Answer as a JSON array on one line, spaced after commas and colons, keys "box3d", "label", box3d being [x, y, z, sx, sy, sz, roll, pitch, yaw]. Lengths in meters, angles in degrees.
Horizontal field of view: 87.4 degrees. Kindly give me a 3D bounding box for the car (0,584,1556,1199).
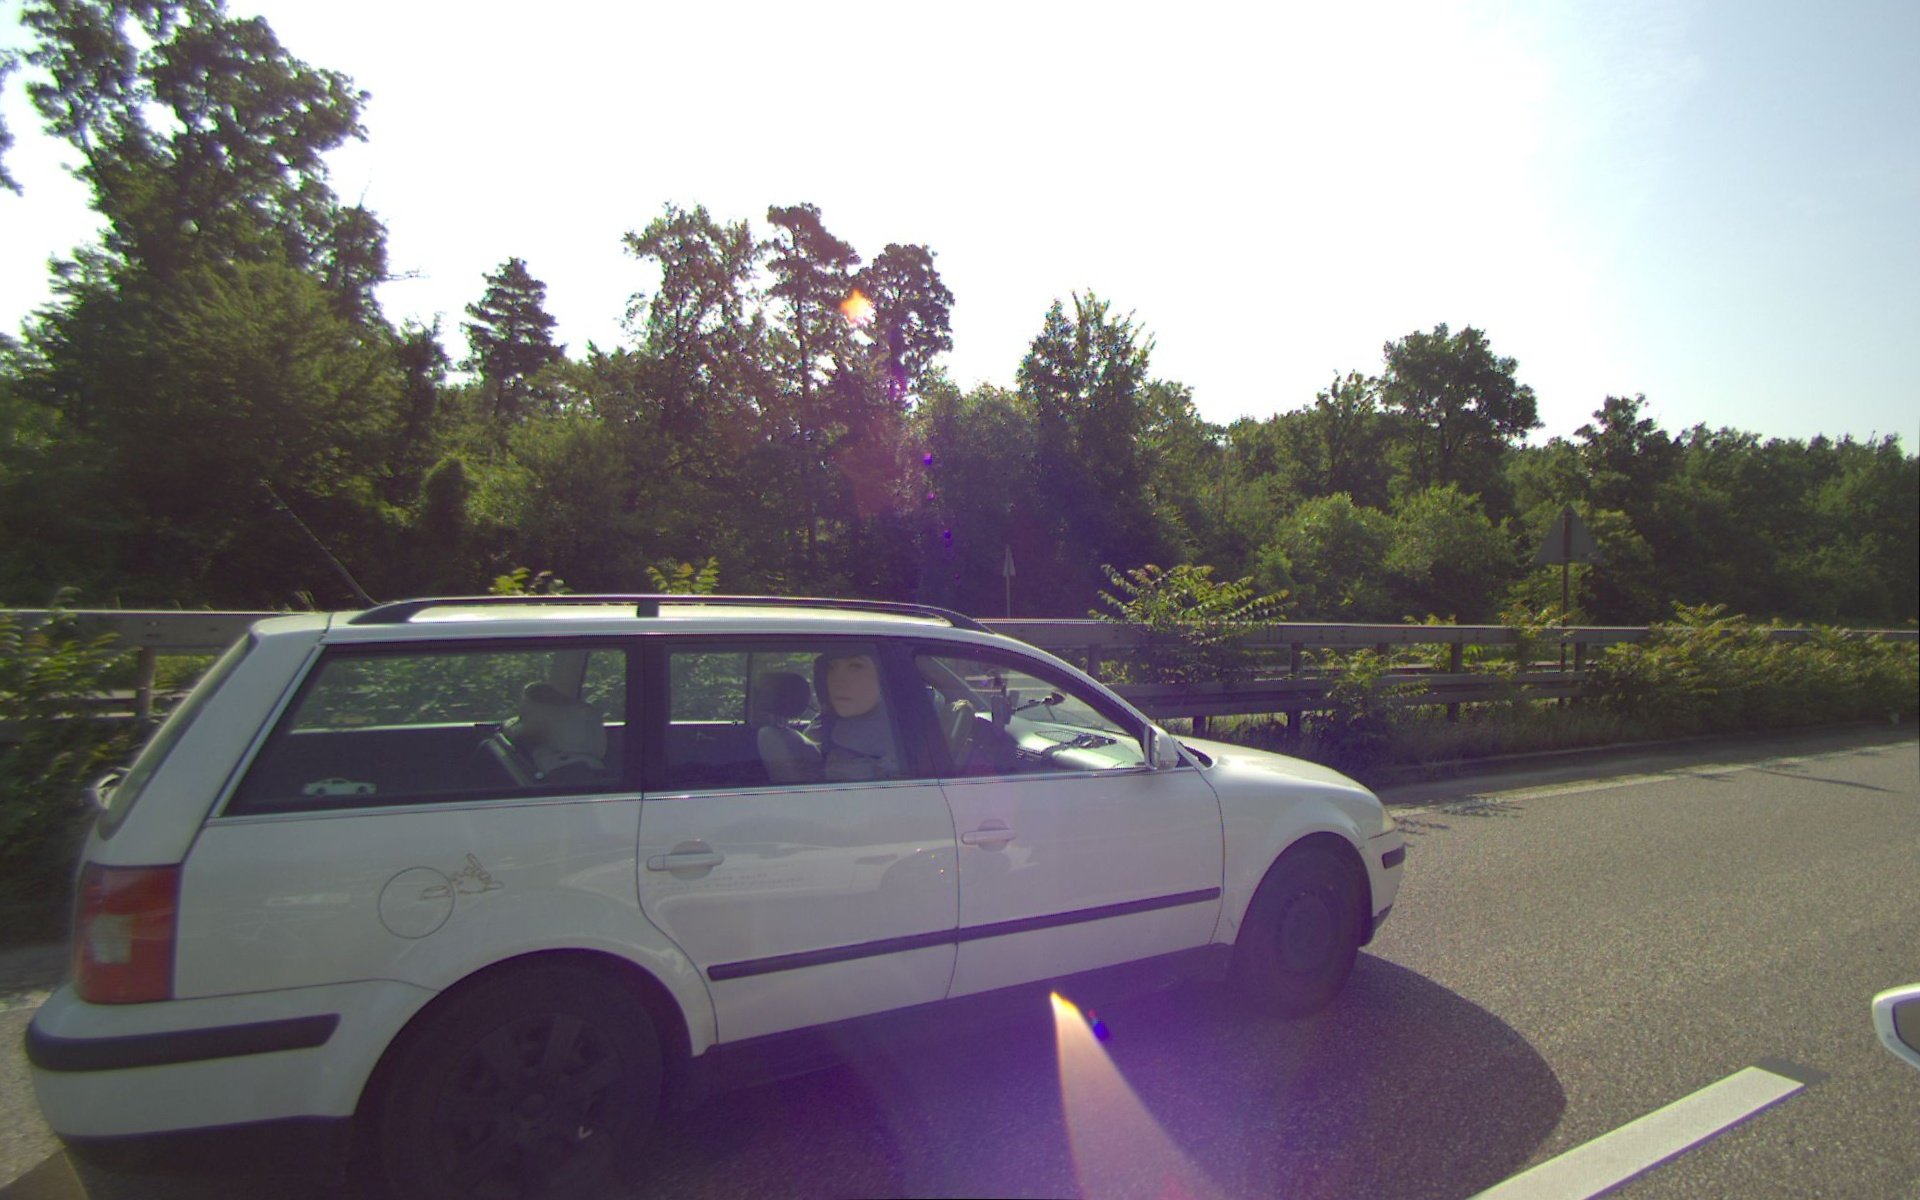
[{"box3d": [-0.072, 0.771, 3.789, 5.203, 1.505, 1.741, 1, 0, -31], "label": "car"}]
